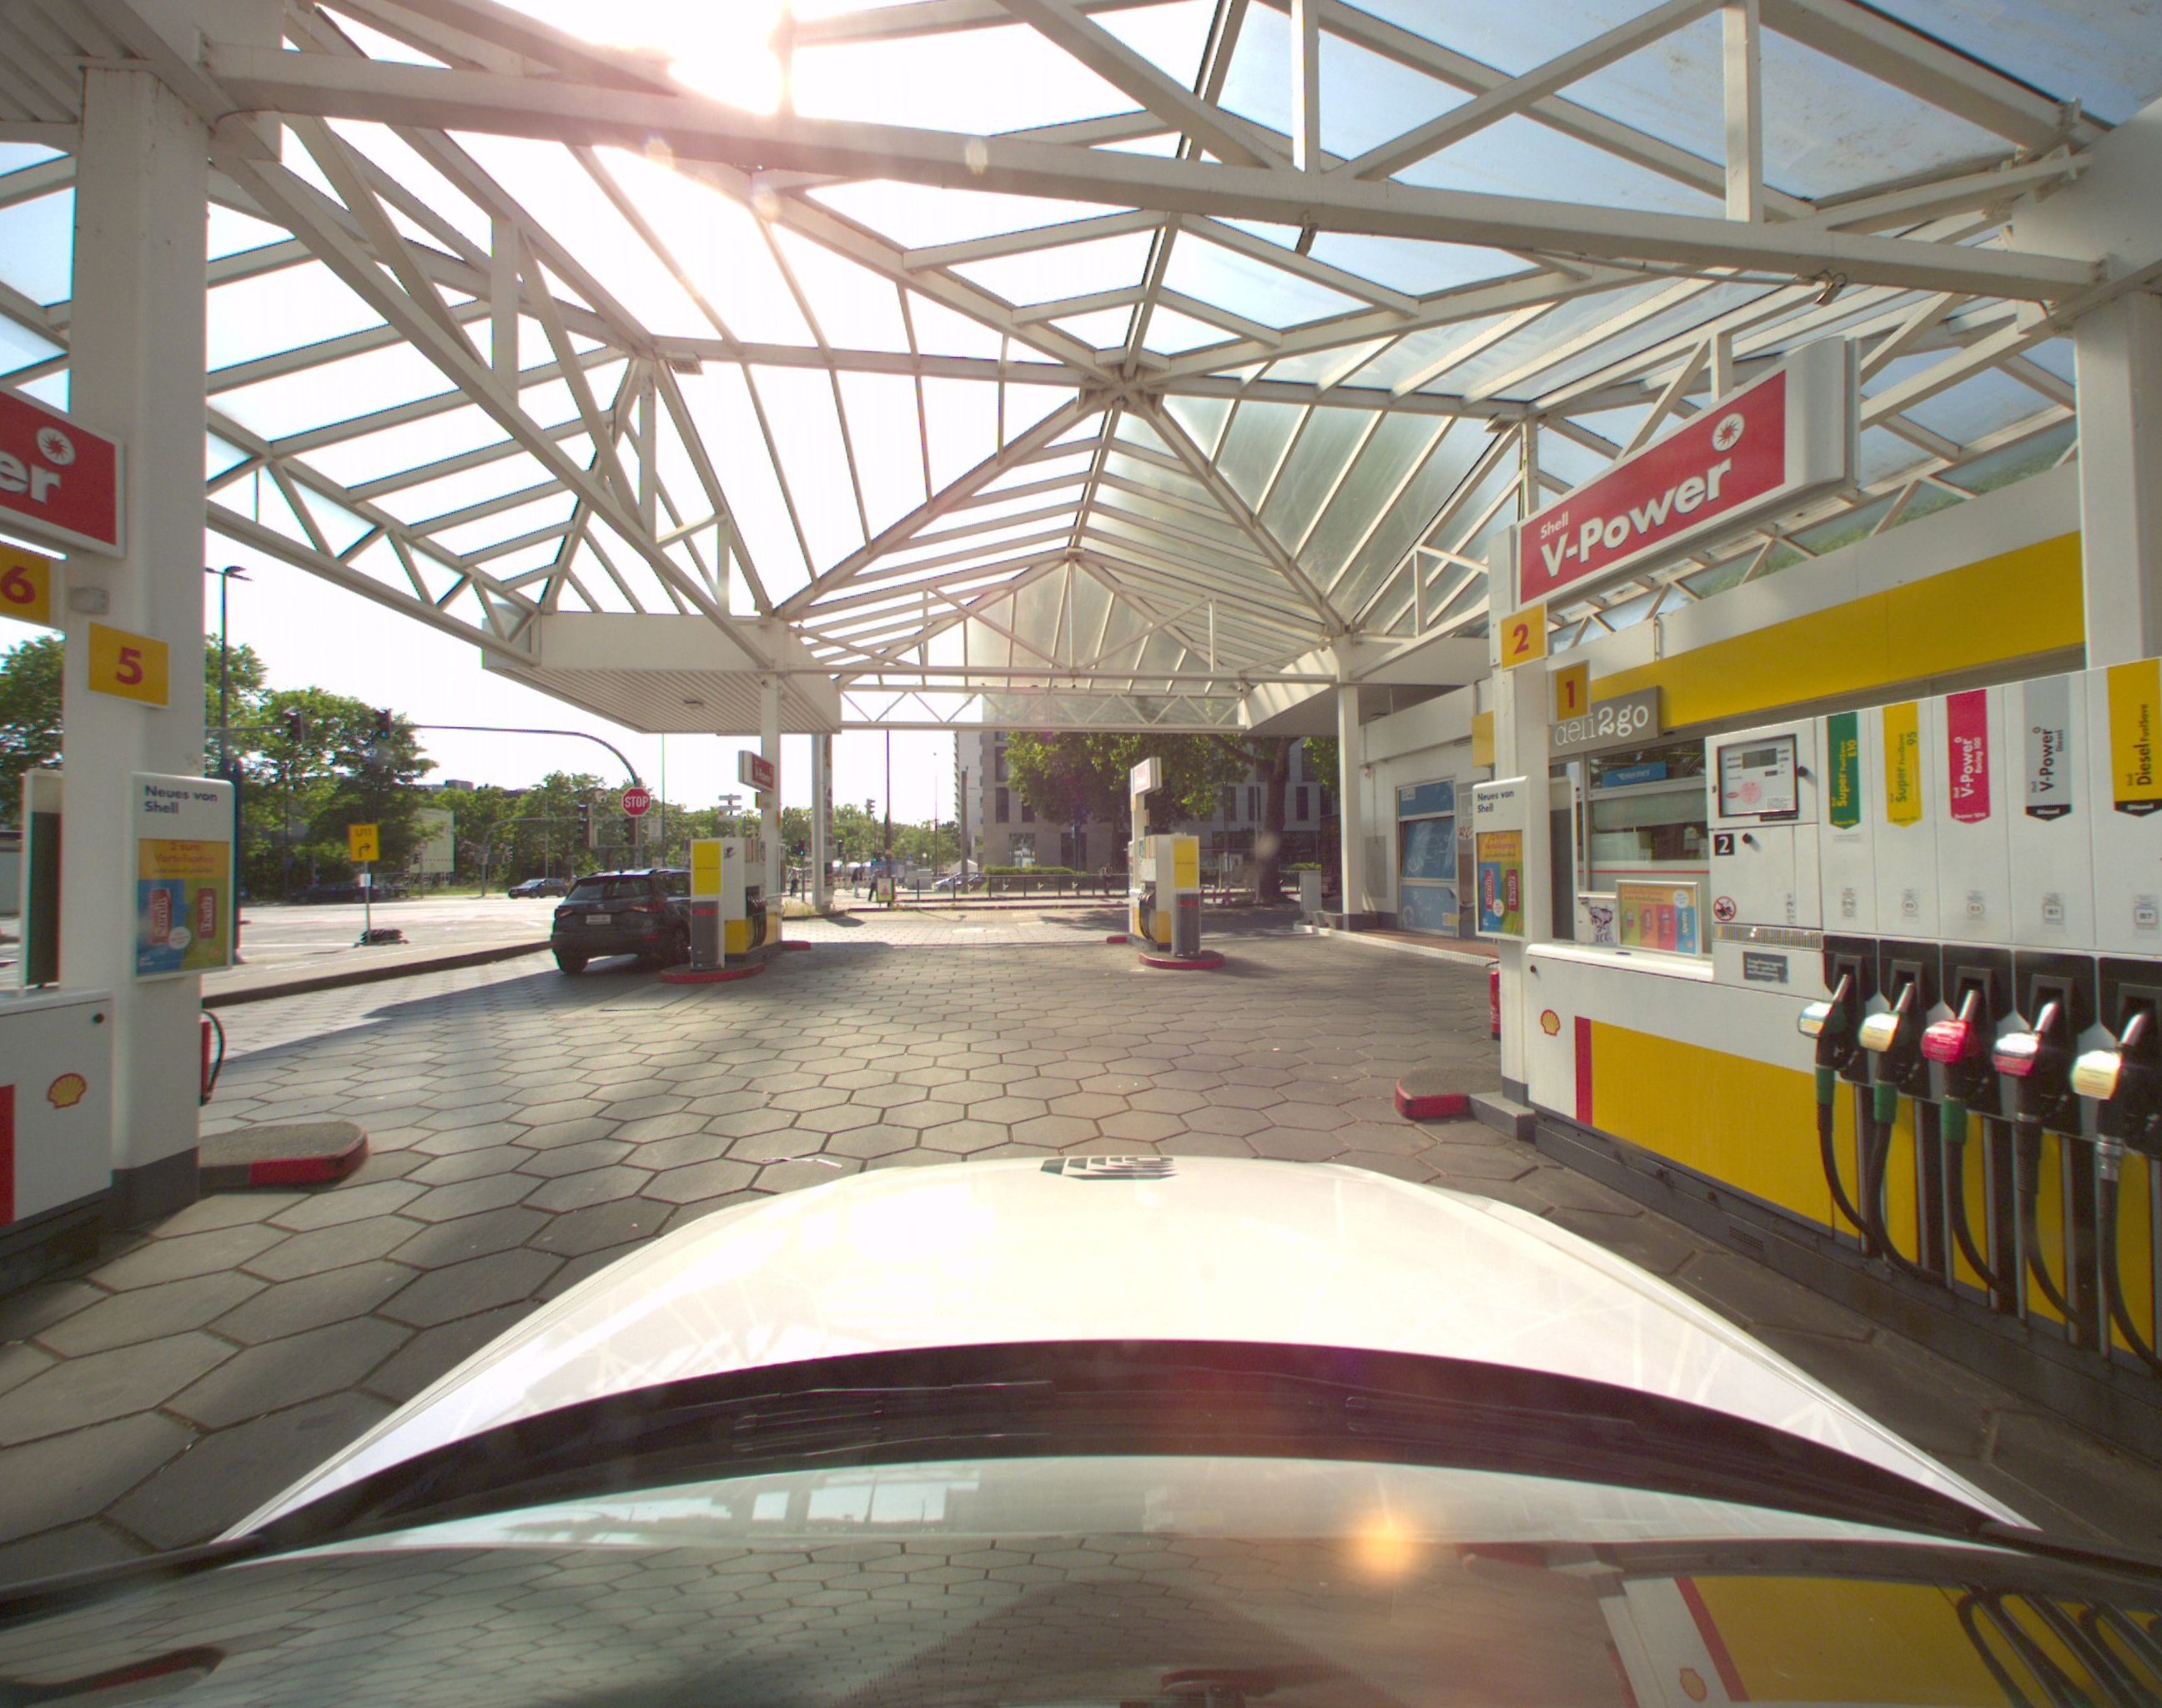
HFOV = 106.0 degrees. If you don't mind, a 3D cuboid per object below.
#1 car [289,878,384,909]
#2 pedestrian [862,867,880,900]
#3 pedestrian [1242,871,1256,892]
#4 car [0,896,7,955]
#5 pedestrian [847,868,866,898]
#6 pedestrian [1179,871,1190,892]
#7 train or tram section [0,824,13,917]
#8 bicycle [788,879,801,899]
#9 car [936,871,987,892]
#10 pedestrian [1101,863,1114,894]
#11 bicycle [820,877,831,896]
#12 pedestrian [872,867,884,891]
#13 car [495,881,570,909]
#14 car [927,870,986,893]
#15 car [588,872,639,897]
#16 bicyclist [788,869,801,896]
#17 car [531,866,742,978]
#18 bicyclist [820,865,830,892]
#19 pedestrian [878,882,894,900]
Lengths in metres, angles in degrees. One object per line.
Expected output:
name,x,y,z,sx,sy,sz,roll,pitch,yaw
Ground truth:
car,-49.727,2.632,54.523,4.219,1.805,1.983,-3,-1,-26
pedestrian,-10.720,1.503,41.579,0.780,1.683,0.499,0,-1,-23
pedestrian,9.090,1.487,44.034,0.626,1.138,0.524,-1,-1,-1
car,-25.729,1.597,16.945,1.678,1.367,3.991,1,-1,-7
pedestrian,-12.718,1.616,46.138,0.927,1.683,0.504,-1,-1,6
pedestrian,5.512,1.462,43.464,0.497,1.138,0.524,-1,-1,-1
train or tram section,-59.336,0.898,37.438,14.887,4.490,2.321,-1,-2,-9
bicycle,-16.737,2.042,47.581,0.639,1.082,2.014,0,-1,-16
car,-9.006,2.049,61.105,3.686,1.552,1.585,-1,-1,-13
pedestrian,1.380,1.289,42.705,0.583,1.591,0.668,-1,0,-8
bicycle,-14.944,1.873,47.606,0.525,1.082,1.854,0,-1,-21
pedestrian,-13.229,1.654,53.146,0.648,1.540,0.503,-1,-1,1
car,-40.544,3.005,60.323,1.978,1.805,4.228,-3,-1,15
car,-8.847,1.933,57.782,3.991,1.552,1.695,-1,-1,-13
car,-40.555,2.614,70.805,1.989,2.014,4.441,-3,-1,-4
bicyclist,-16.754,1.668,47.668,0.639,1.580,1.167,0,-1,-15
car,-7.187,1.021,13.672,1.742,1.532,3.989,-2,-1,-8
bicyclist,-14.967,1.449,47.632,0.535,1.544,0.859,0,-2,-21
pedestrian,-10.033,1.891,41.876,0.693,0.880,0.499,0,-1,-22
